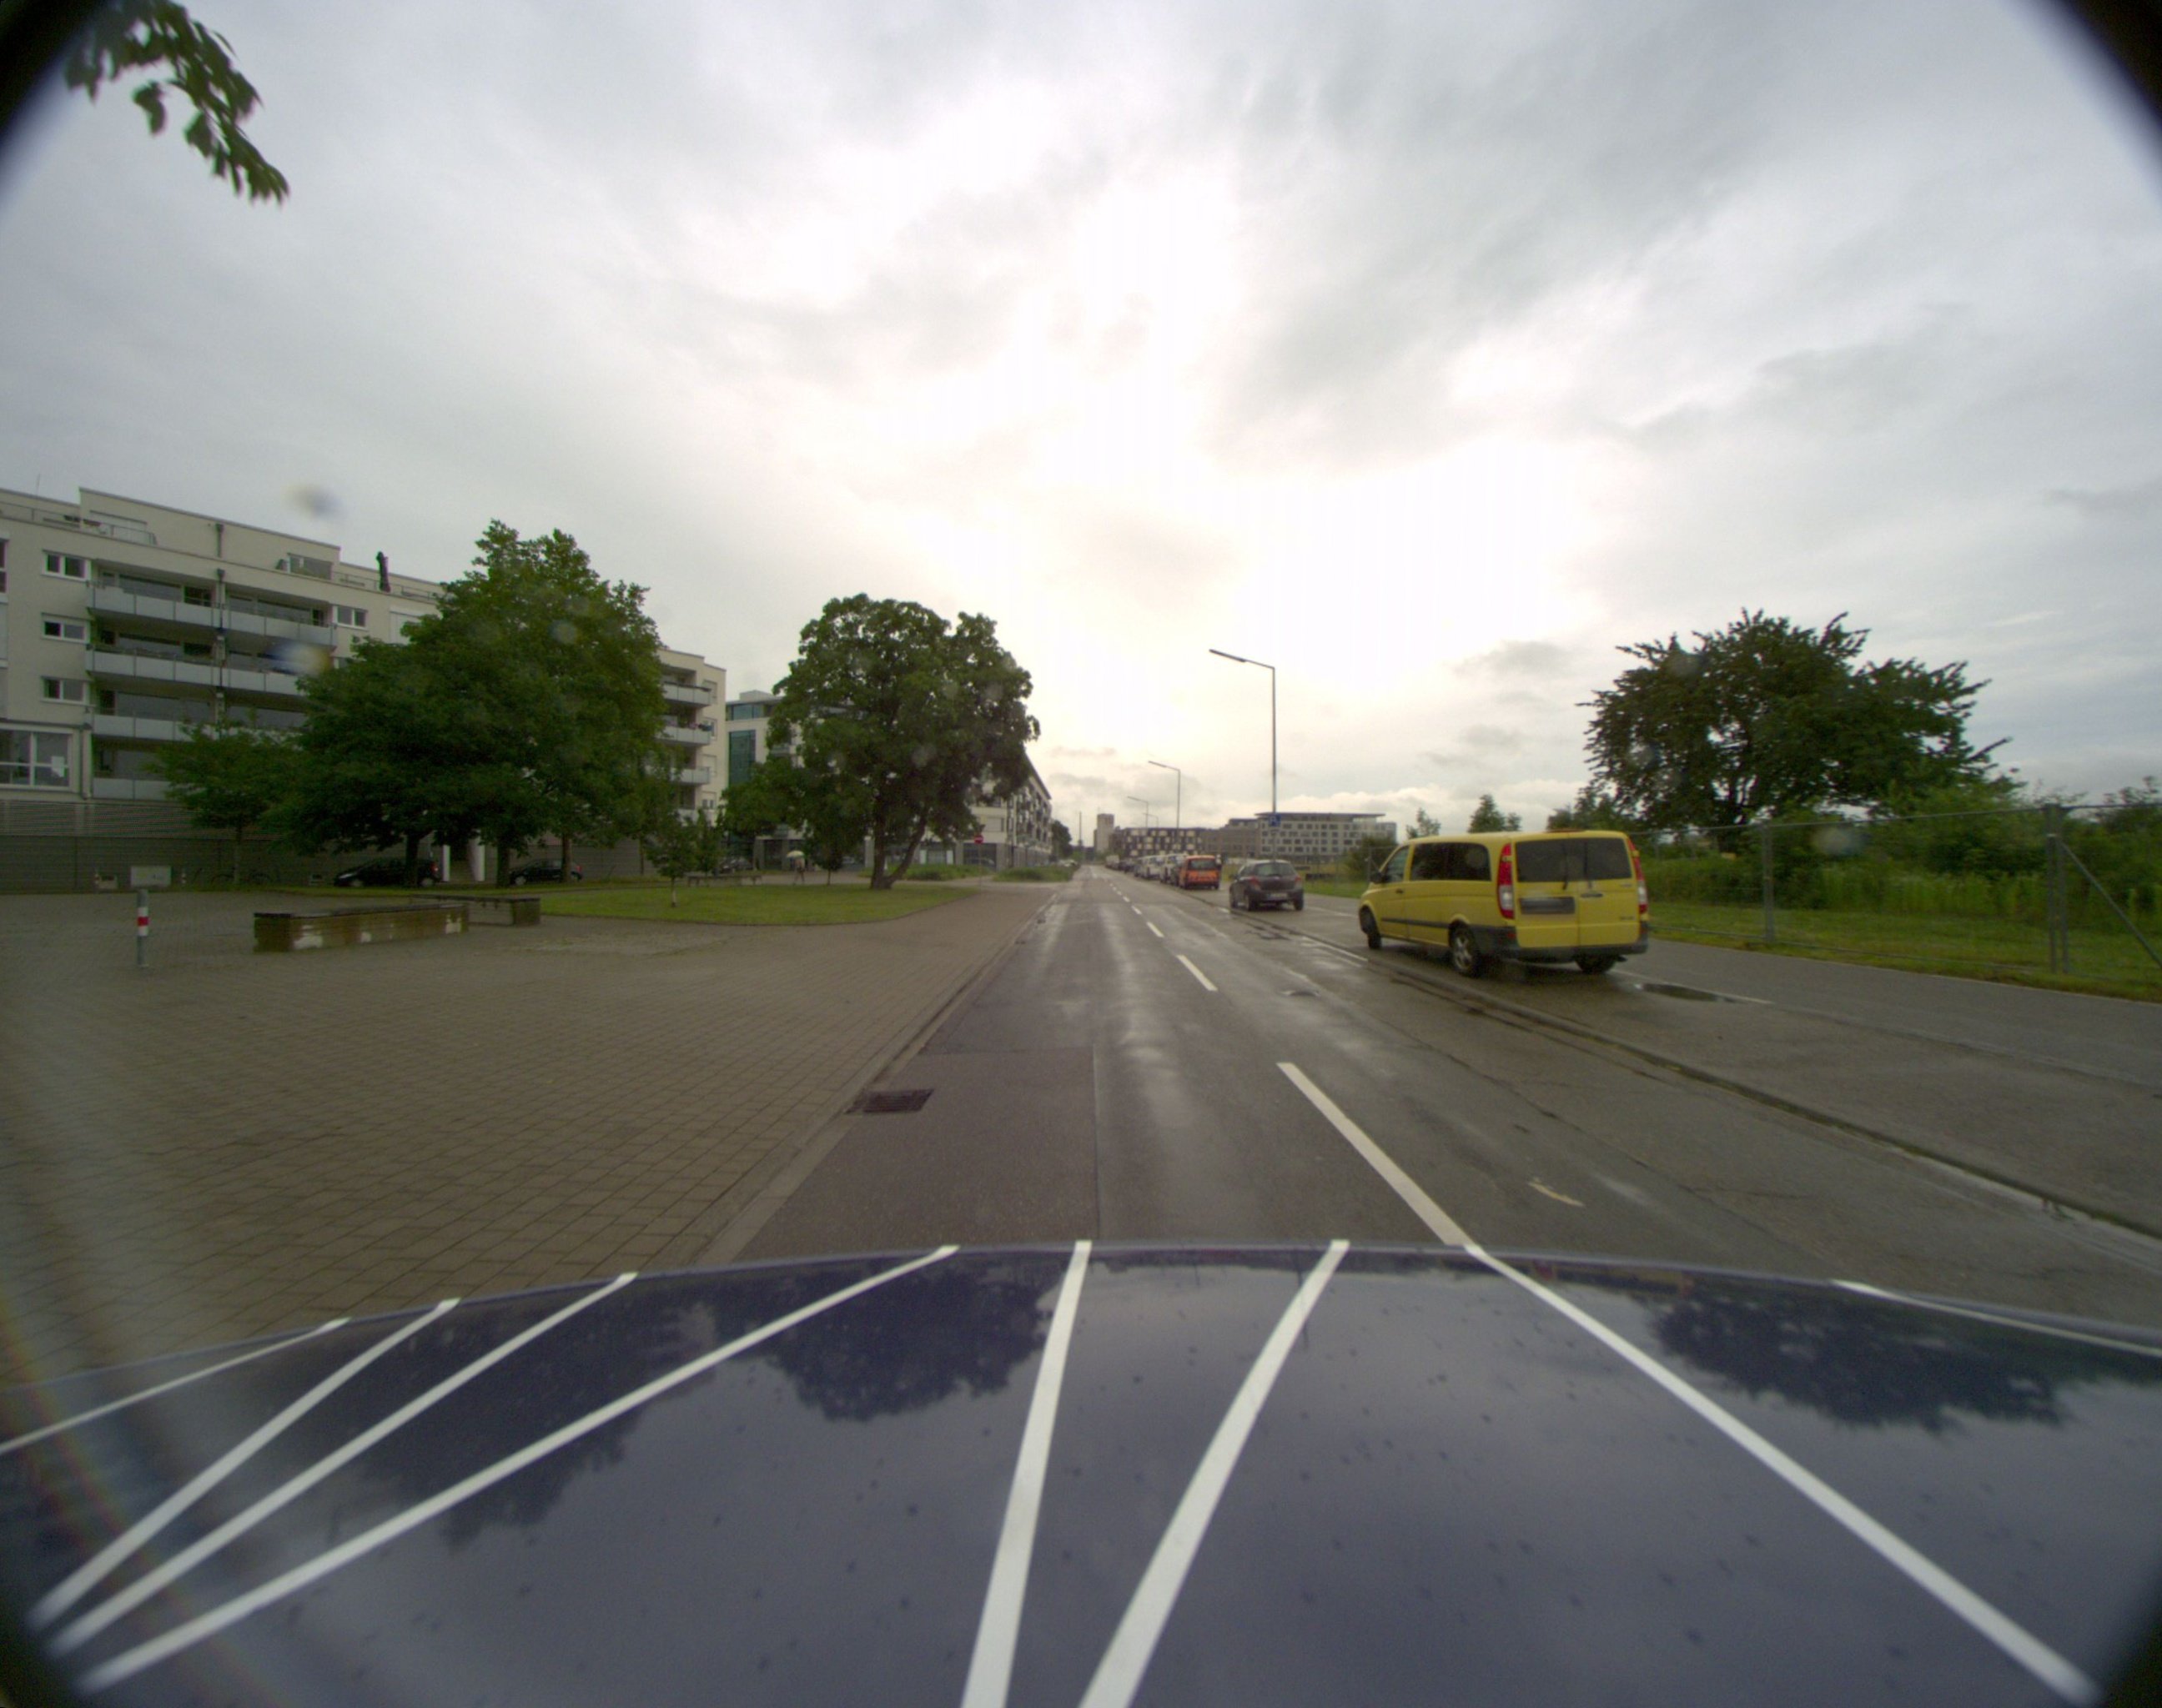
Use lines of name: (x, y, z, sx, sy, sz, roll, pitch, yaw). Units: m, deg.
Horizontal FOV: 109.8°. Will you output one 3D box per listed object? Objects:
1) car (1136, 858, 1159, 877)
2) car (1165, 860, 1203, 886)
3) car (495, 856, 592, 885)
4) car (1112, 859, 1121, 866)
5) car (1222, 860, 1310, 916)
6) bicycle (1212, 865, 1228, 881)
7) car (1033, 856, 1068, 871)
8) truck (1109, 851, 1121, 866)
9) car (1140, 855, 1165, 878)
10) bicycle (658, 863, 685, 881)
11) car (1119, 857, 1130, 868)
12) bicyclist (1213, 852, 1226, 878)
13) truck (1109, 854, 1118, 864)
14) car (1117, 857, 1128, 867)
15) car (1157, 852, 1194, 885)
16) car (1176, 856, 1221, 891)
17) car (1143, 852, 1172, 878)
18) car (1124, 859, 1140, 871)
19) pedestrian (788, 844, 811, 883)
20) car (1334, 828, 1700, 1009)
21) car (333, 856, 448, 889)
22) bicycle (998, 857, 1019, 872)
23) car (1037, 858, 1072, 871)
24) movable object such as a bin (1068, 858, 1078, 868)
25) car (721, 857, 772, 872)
car: (6.710, 1.337, 77.083, 1.961, 1.890, 4.995, 0, 0, 1)
car: (6.317, 1.141, 46.913, 1.688, 1.493, 4.892, 0, 0, 0)
car: (-29.954, 0.881, 42.415, 1.729, 1.539, 4.130, 0, 0, 40)
car: (7.469, 1.718, 160.268, 1.676, 1.454, 4.157, 0, 0, 1)
car: (5.743, 1.022, 24.117, 1.808, 1.552, 4.033, -3, -1, 1)
bicycle: (9.750, 1.329, 53.367, 0.718, 1.036, 2.145, -1, 0, 1)
car: (-3.698, 1.162, 92.676, 4.100, 1.614, 1.966, 2, 0, -1)
truck: (7.476, 0.989, 168.032, 2.442, 3.050, 6.700, -1, 0, 0)
car: (6.587, 1.116, 70.136, 1.899, 2.002, 5.258, 0, 0, 1)
bicycle: (-25.643, 1.114, 47.563, 2.477, 1.081, 0.728, 0, 0, 42)
car: (7.162, 1.397, 123.656, 1.756, 1.683, 4.882, 0, -1, 4)
bicyclist: (9.713, 0.760, 53.343, 0.700, 1.819, 1.008, -1, 0, 1)
truck: (8.030, 1.204, 188.220, 2.180, 2.591, 6.132, 0, 0, 1)
car: (7.015, 1.379, 129.156, 1.757, 1.581, 4.134, 0, 0, 1)
car: (6.577, 0.984, 53.253, 1.947, 2.223, 5.558, 0, 0, 0)
car: (6.244, 1.004, 40.919, 1.944, 1.757, 4.332, 0, 0, 2)
car: (6.411, 0.912, 63.932, 1.964, 2.046, 5.275, -1, 0, 1)
car: (6.776, 1.433, 101.817, 1.852, 1.552, 4.152, -2, 0, 1)
pedestrian: (-14.809, 0.509, 39.942, 0.967, 2.002, 0.623, 0, 0, 1)
car: (5.820, 0.711, 11.415, 2.022, 1.945, 6.065, -2, 0, 0)
car: (-34.031, 0.872, 37.523, 1.729, 1.539, 4.009, 0, 0, 40)
bicycle: (-7.924, 1.118, 82.606, 2.189, 1.513, 0.631, 1, 0, 21)
car: (-3.414, 1.346, 97.706, 4.420, 1.397, 1.910, 2, 0, 0)
movable object such as a bin: (-1.325, 1.541, 129.349, 1.499, 1.484, 1.156, 3, 0, 1)
car: (-32.458, 0.980, 73.882, 1.809, 1.424, 4.531, 0, 0, 23)
